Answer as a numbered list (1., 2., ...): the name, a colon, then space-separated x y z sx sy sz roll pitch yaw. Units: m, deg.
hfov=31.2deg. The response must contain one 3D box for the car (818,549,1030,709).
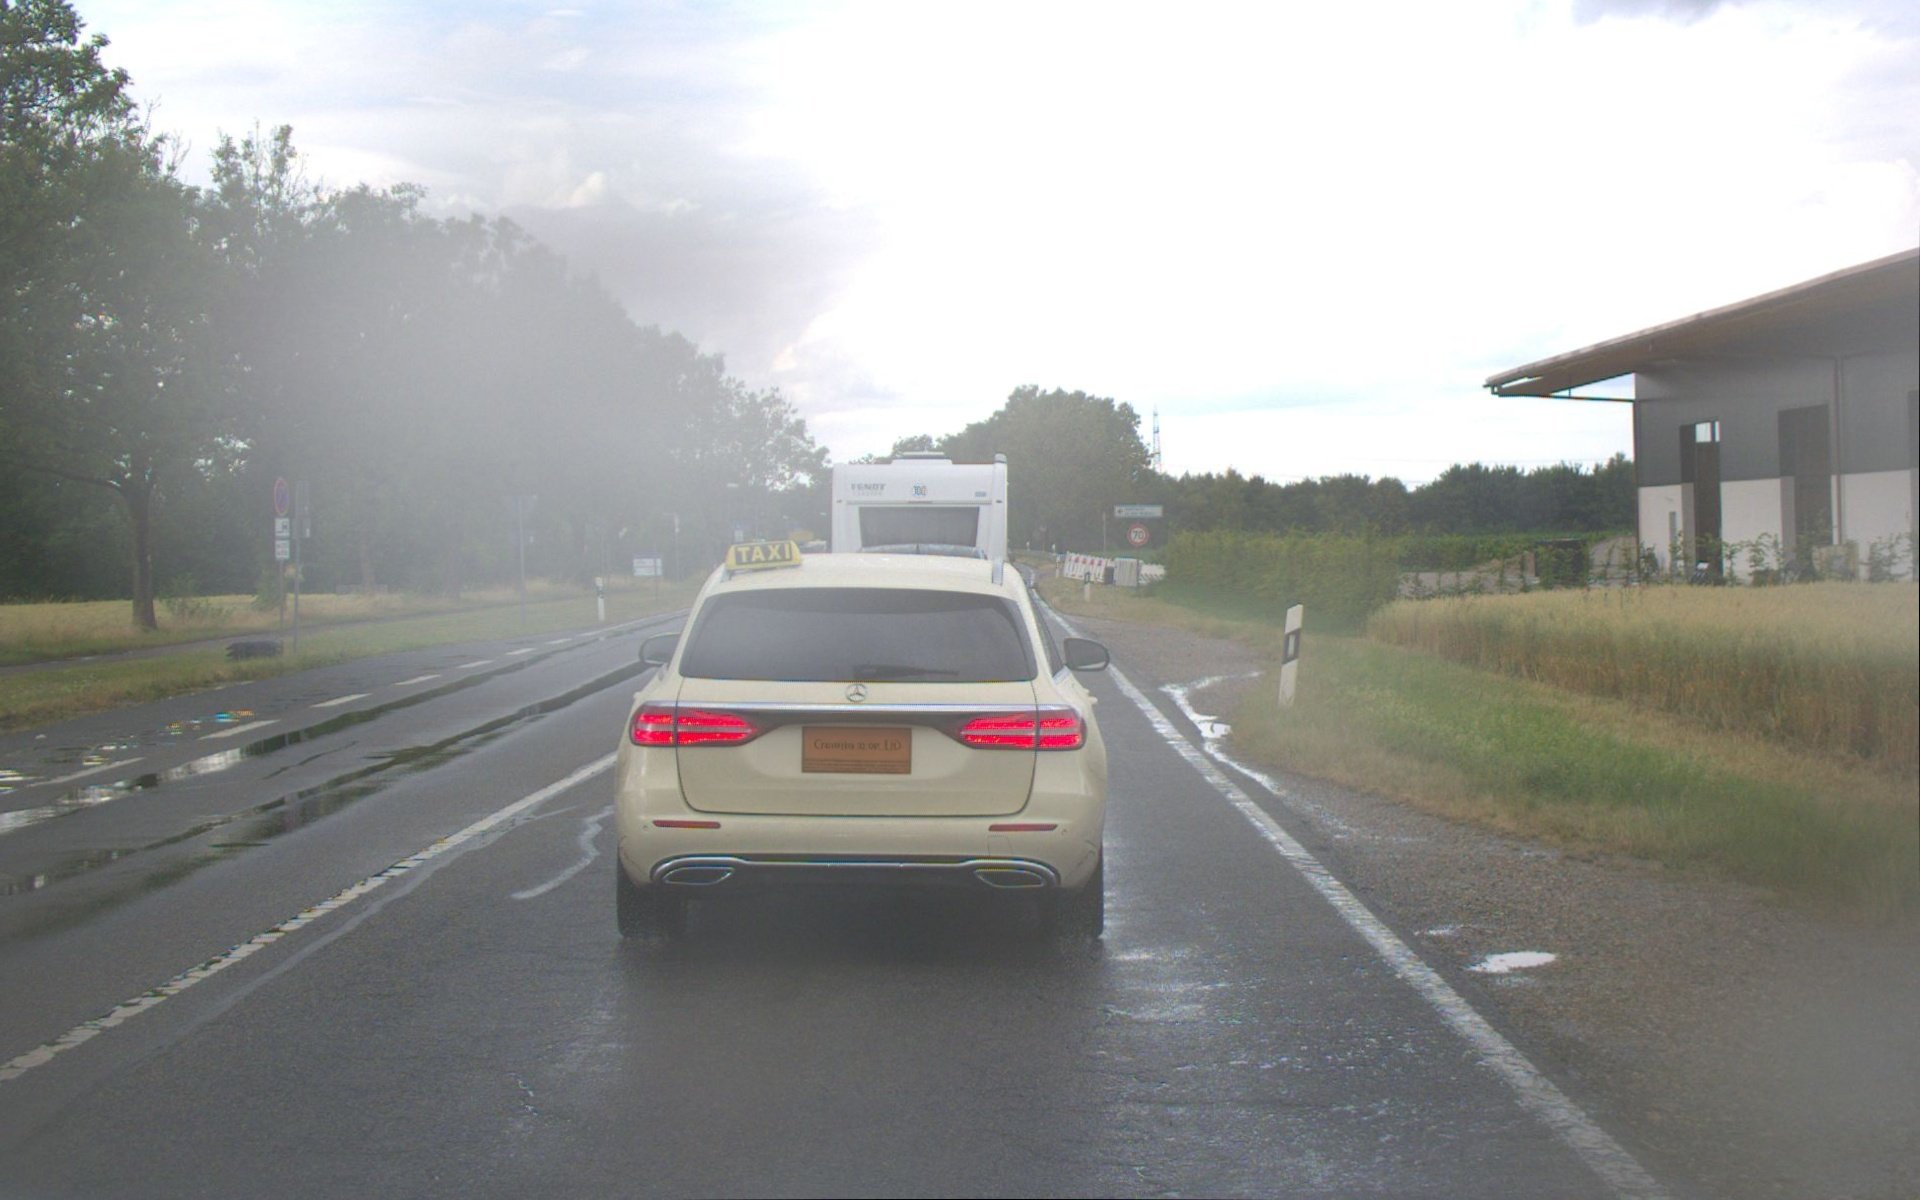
1. car: -0.340 0.232 32.855 1.894 1.424 3.928 0 1 -1

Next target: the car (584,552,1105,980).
1. car: -0.386 0.548 13.935 1.797 1.459 4.031 0 1 0

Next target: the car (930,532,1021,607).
1. car: 0.367 -0.683 75.249 1.894 1.585 3.928 0 1 2

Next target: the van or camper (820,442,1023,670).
1. van or camper: -0.440 -0.610 46.842 2.497 2.821 5.934 -2 1 1
